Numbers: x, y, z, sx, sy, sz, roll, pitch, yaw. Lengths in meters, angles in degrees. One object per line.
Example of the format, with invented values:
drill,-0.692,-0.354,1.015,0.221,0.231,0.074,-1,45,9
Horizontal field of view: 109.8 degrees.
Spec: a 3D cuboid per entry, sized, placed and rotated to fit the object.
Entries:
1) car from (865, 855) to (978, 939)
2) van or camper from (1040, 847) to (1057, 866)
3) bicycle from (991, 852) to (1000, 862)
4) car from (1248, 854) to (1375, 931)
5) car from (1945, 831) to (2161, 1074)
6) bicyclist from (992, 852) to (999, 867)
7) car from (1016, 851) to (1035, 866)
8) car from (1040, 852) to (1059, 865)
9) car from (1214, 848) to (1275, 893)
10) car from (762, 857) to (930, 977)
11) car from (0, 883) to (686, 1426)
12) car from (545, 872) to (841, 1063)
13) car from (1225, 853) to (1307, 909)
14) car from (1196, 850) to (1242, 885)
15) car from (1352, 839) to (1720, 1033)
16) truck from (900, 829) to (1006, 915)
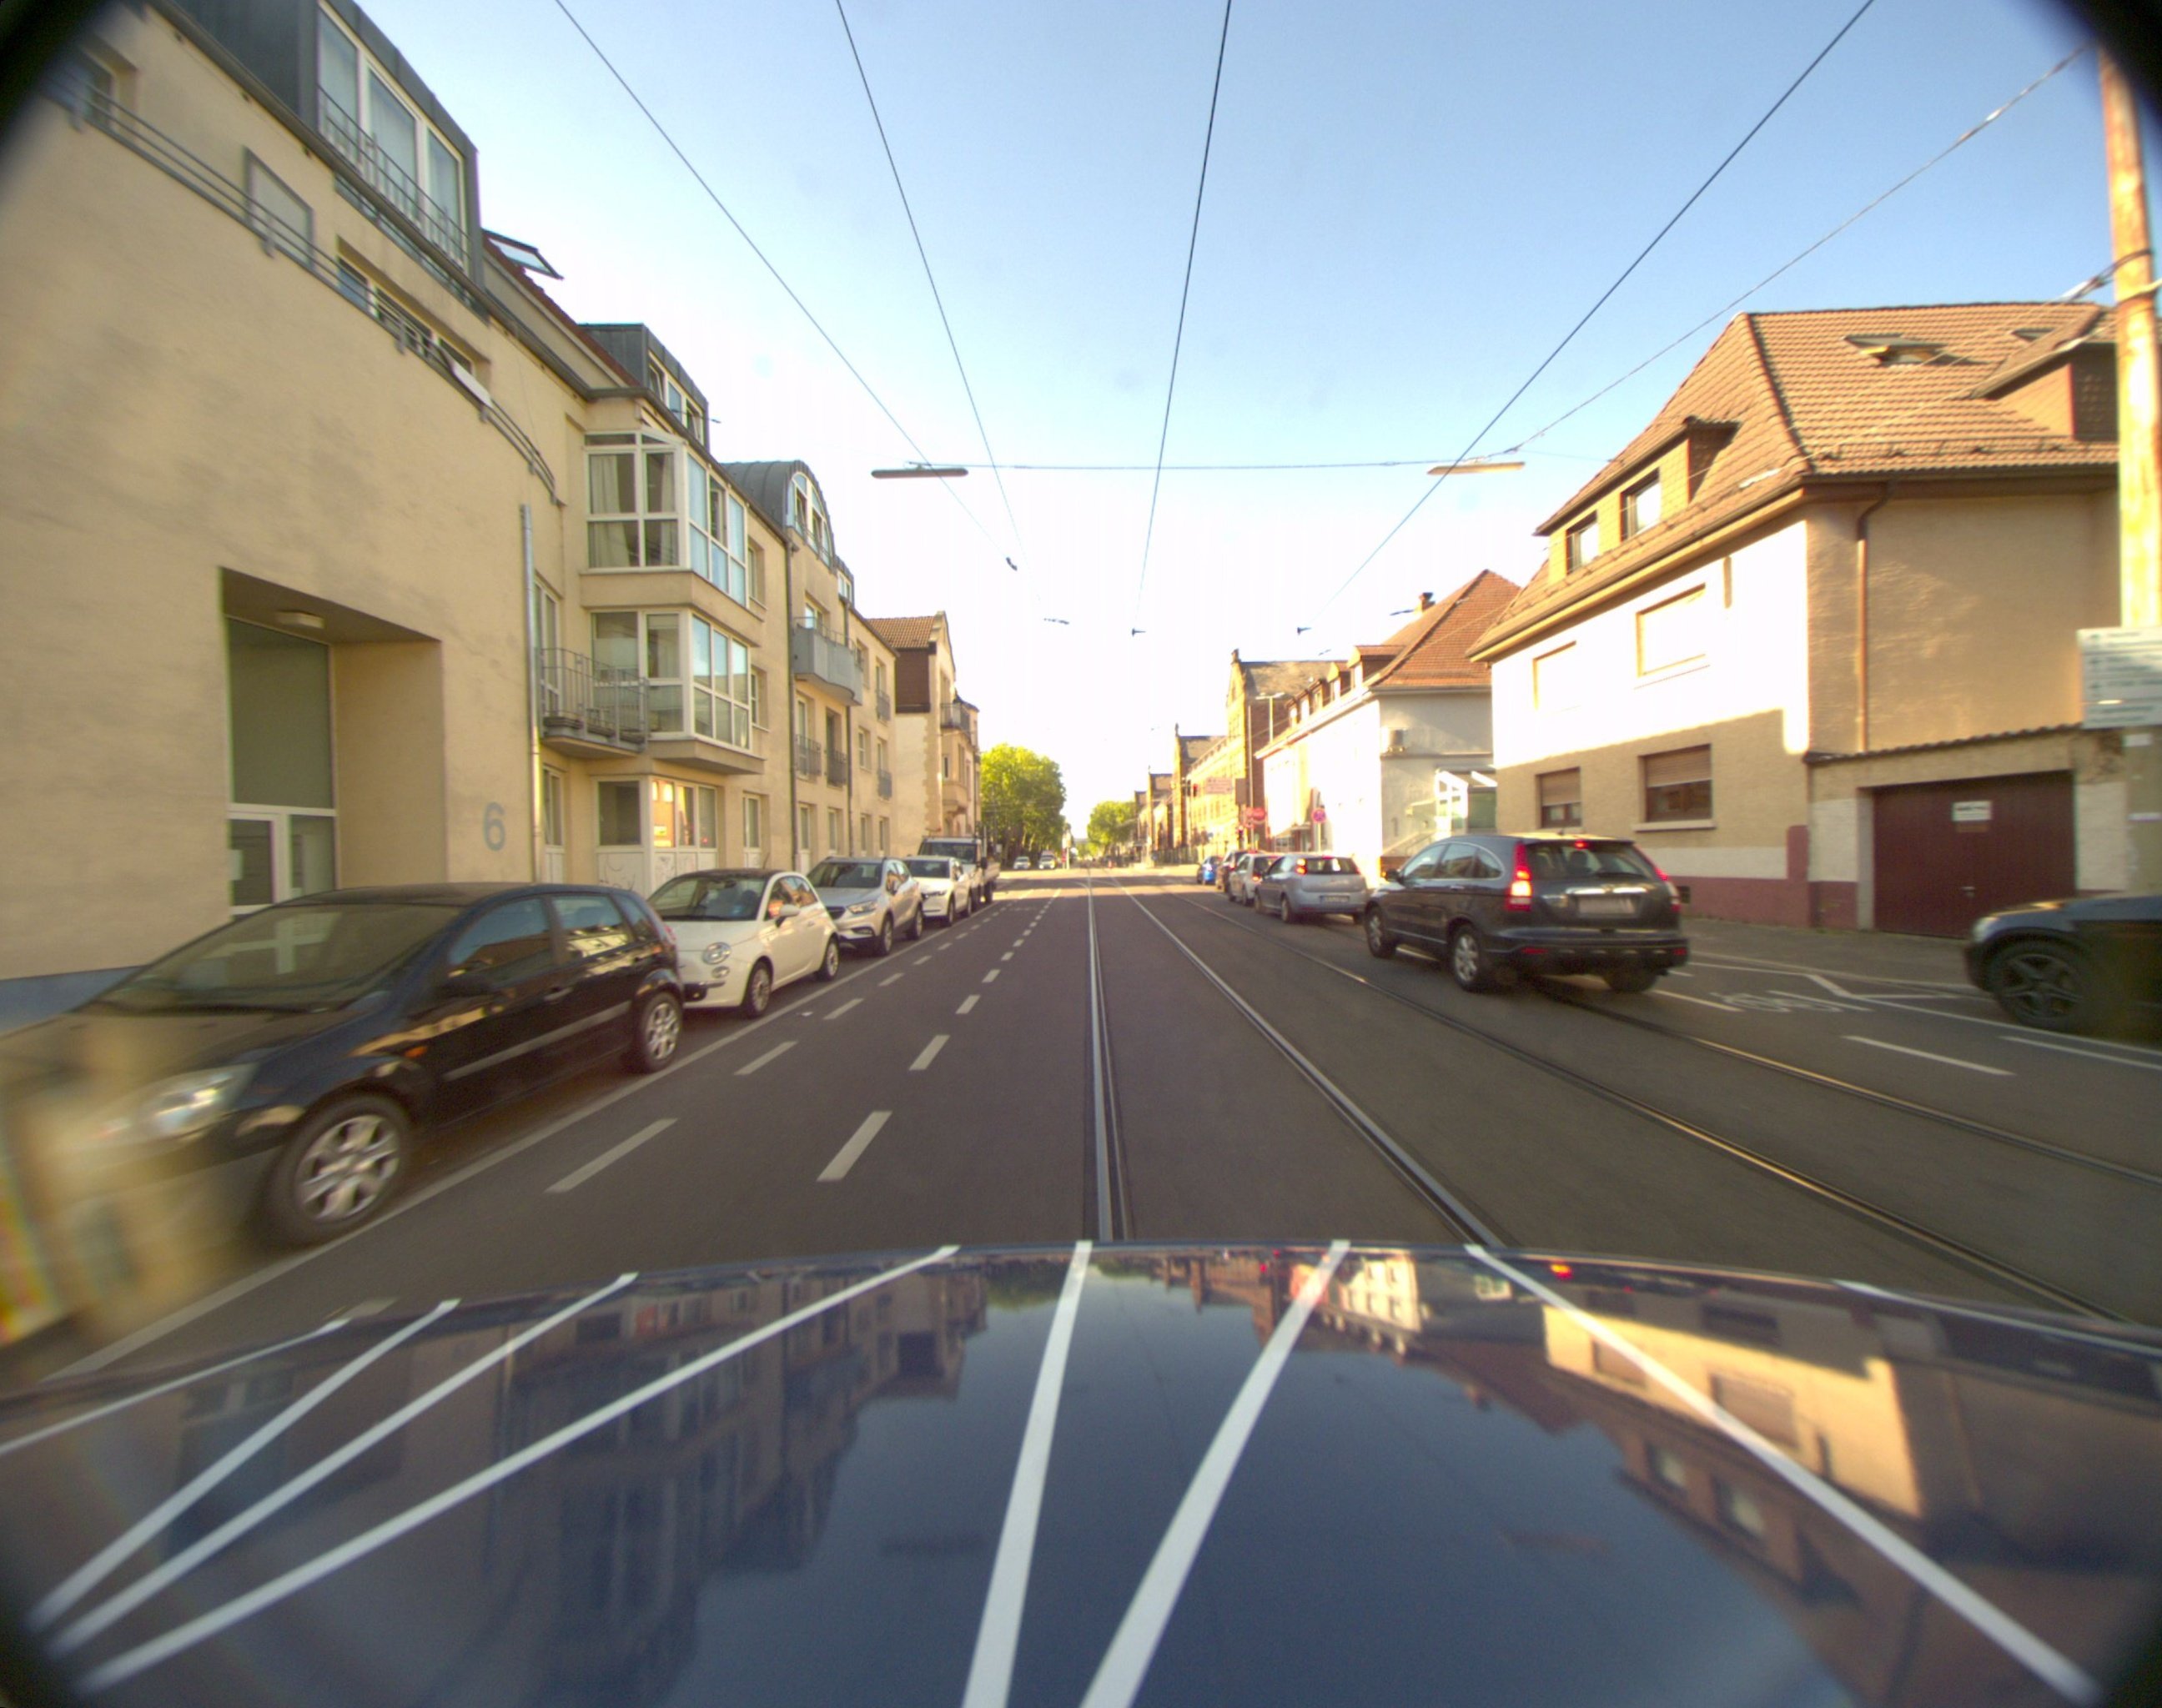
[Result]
car,-3.796,0.954,18.811,1.743,1.736,4.255,-3,0,1
van or camper,-4.320,0.395,101.318,1.998,2.346,5.600,-1,-1,0
bicycle,-9.583,0.387,85.045,0.690,1.027,2.100,-1,-2,0
car,4.929,0.751,16.811,1.621,1.452,4.075,0,1,1
car,8.439,0.698,4.354,1.766,1.695,4.555,0,1,0
bicyclist,-9.583,0.635,84.837,0.670,1.718,0.623,-1,-2,0
car,-6.549,0.545,89.925,1.911,1.608,4.572,-2,-1,0
car,-3.765,0.573,91.673,1.984,1.539,4.035,-1,-1,1
car,6.244,0.576,29.481,1.742,1.602,4.716,0,1,5
car,-3.931,0.959,13.431,1.606,1.690,3.989,-3,0,1
car,-3.949,1.042,4.195,1.558,1.548,3.652,-3,0,0
car,-3.993,1.056,8.471,1.500,1.548,3.364,-3,0,0
car,5.246,0.727,21.963,1.586,1.452,3.613,0,1,2
car,6.443,0.598,35.915,1.687,1.558,3.929,1,0,4
car,4.764,0.702,8.845,1.708,1.695,4.363,0,1,1
truck,-4.006,0.512,25.044,2.301,2.463,6.146,-1,0,1
